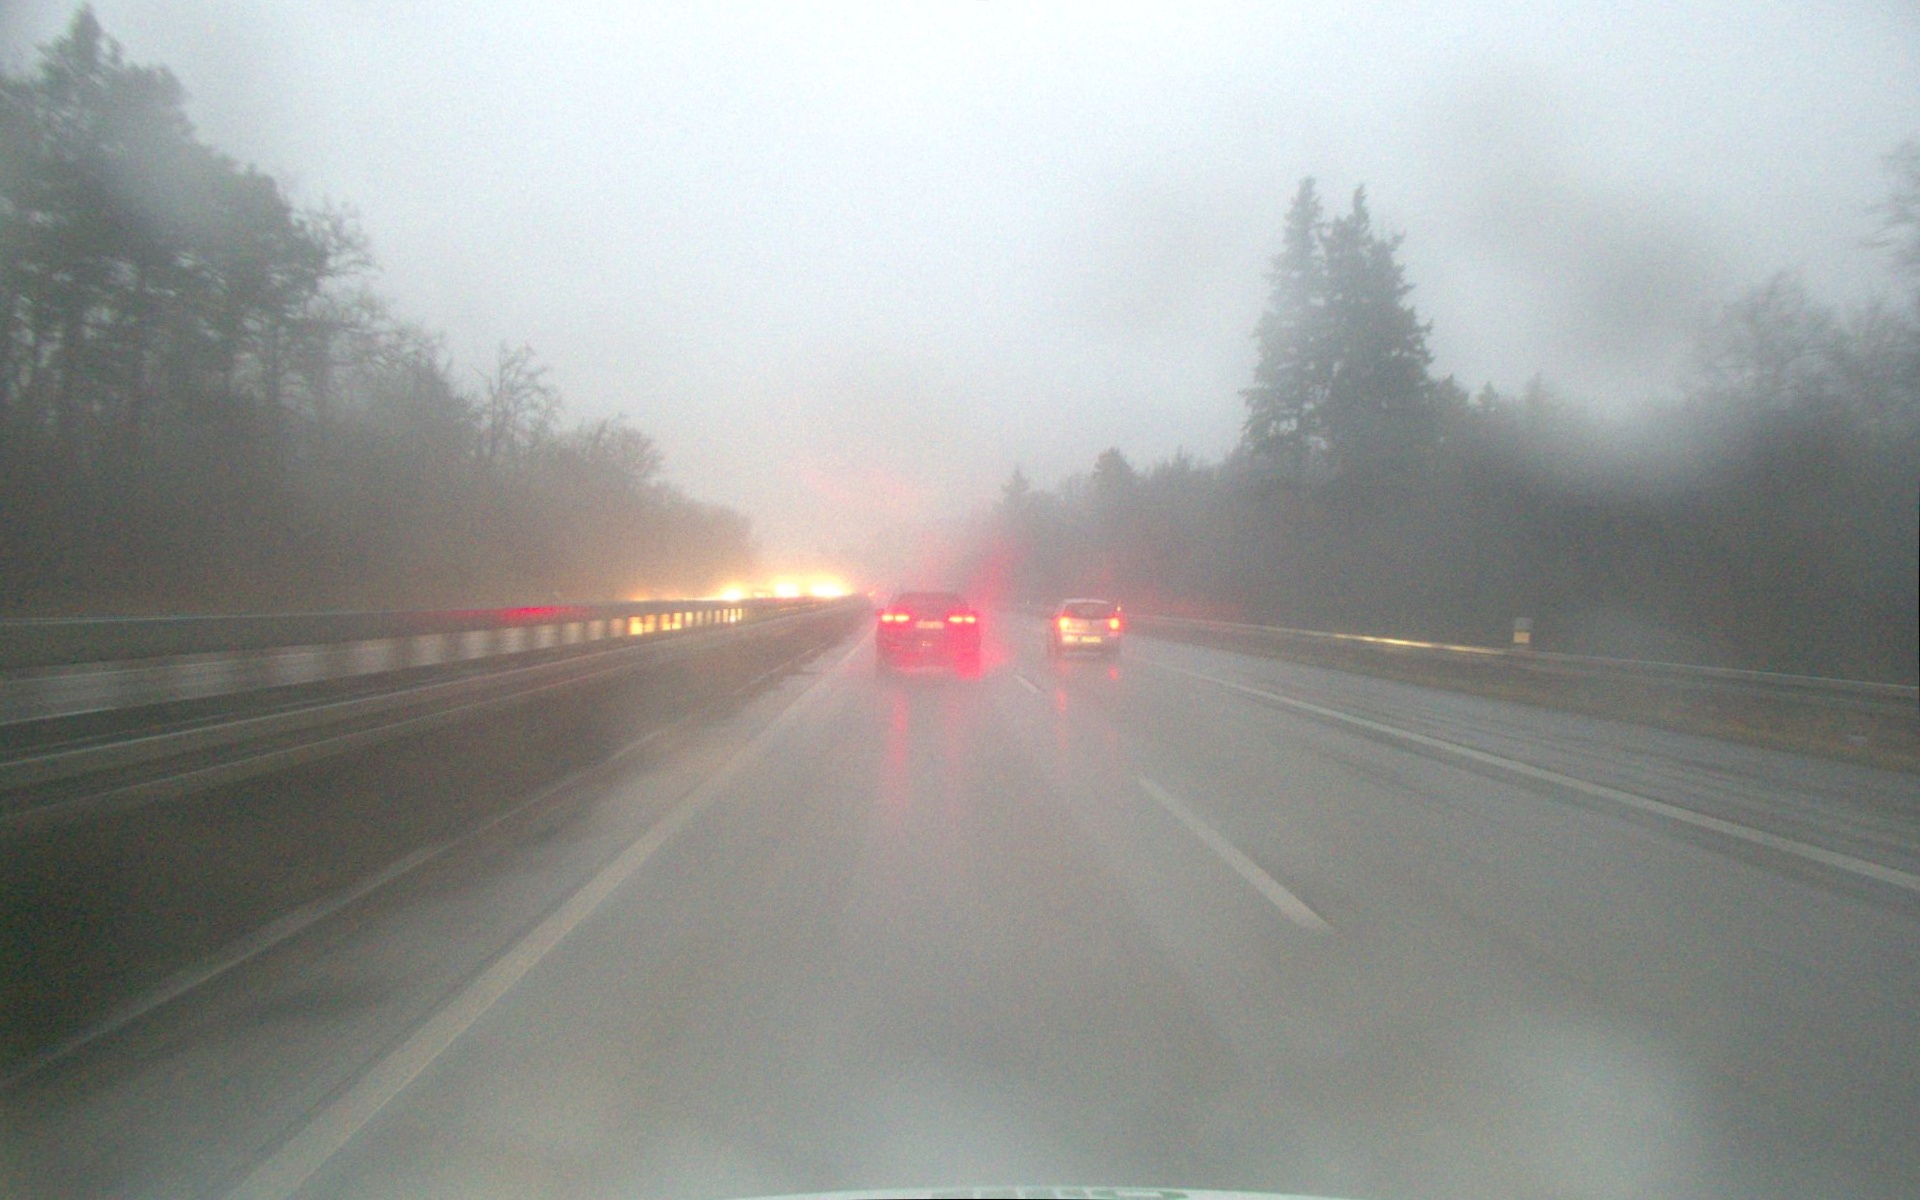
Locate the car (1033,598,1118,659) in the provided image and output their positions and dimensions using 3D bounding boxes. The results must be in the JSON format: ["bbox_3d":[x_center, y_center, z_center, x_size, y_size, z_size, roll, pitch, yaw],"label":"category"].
[{"bbox_3d":[2.886,0.688,42.067,1.744,1.462,3.535,1,0,-3],"label":"car"}]

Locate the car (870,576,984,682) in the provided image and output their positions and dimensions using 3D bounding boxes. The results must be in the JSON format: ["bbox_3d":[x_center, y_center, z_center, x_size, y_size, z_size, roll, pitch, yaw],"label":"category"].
[{"bbox_3d":[-0.601,0.489,30.601,1.946,1.798,4.172,1,0,-1],"label":"car"}]
